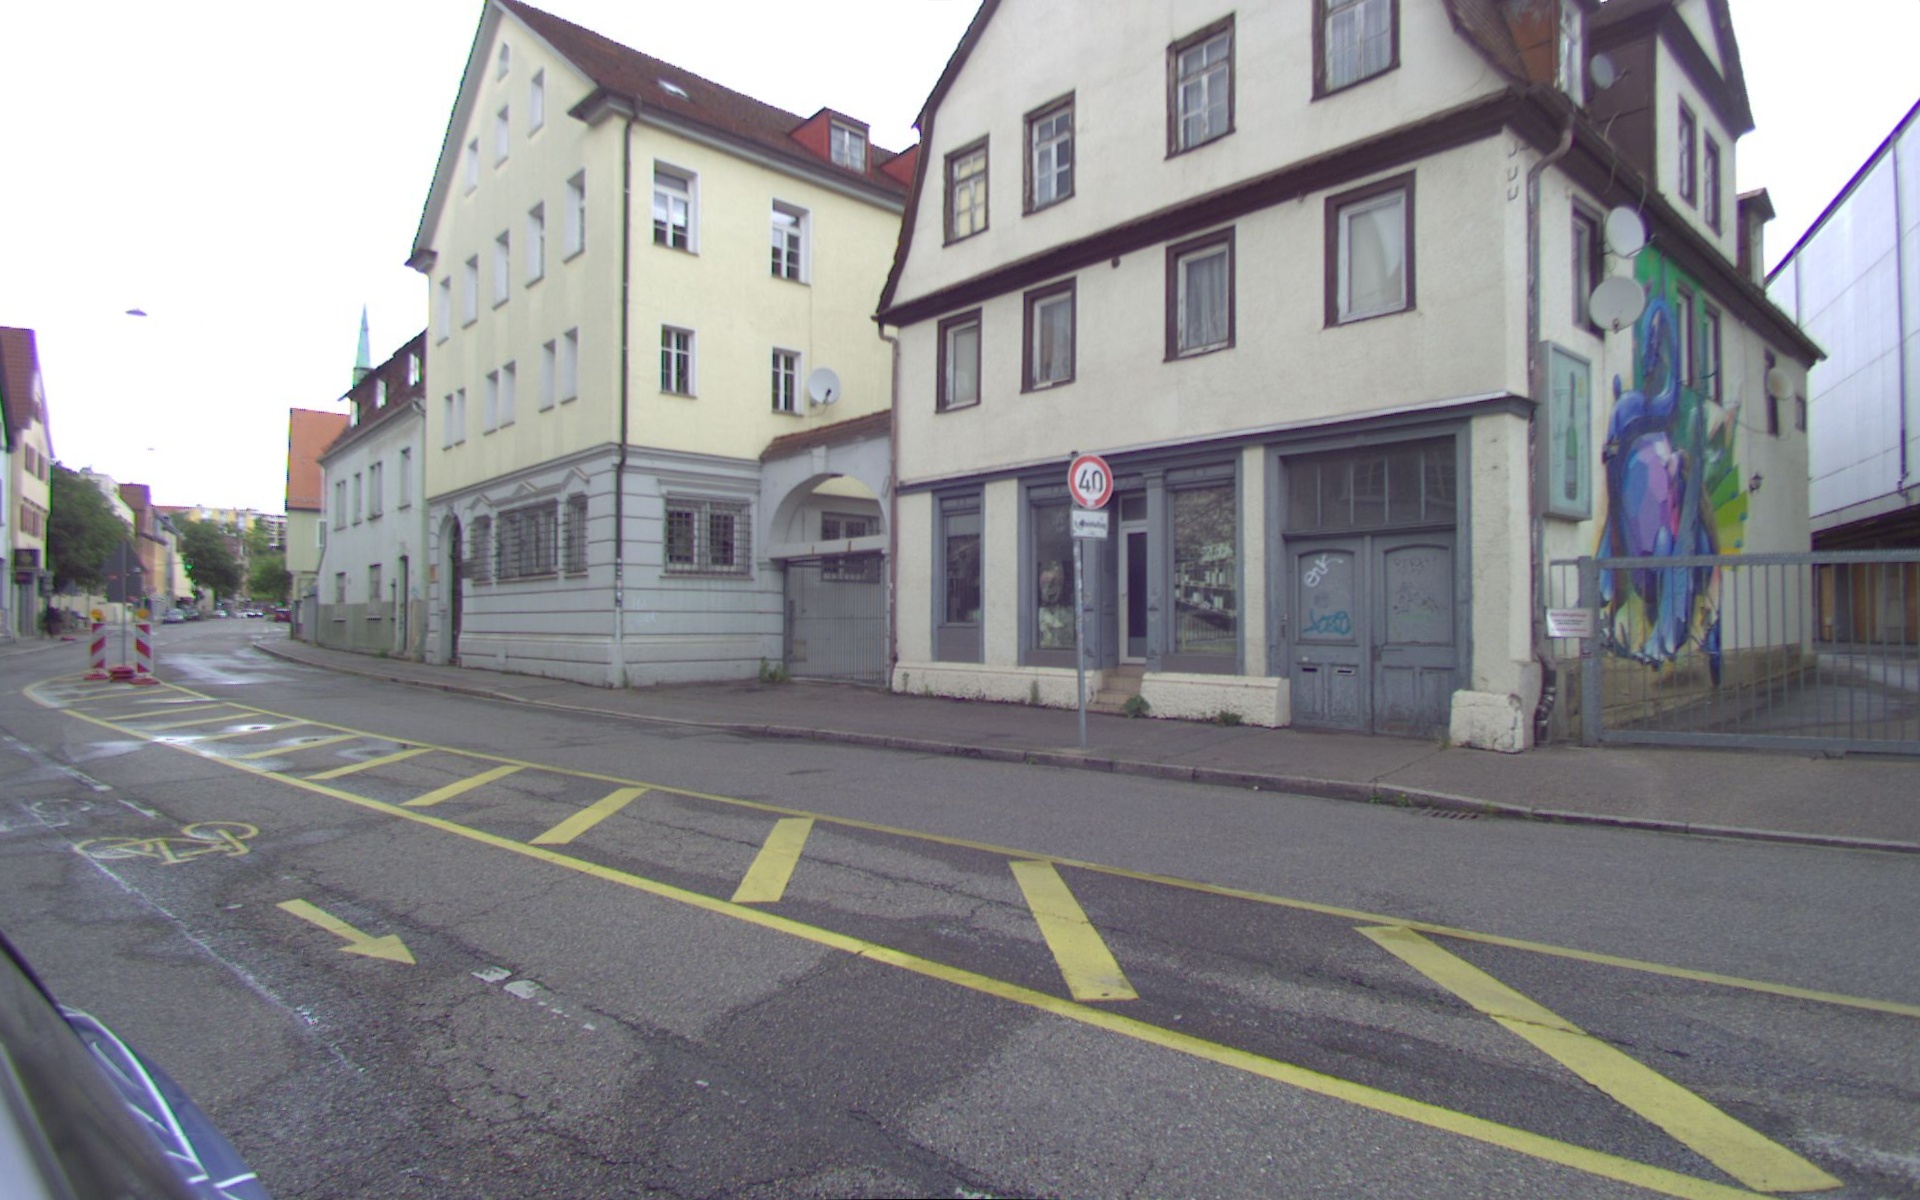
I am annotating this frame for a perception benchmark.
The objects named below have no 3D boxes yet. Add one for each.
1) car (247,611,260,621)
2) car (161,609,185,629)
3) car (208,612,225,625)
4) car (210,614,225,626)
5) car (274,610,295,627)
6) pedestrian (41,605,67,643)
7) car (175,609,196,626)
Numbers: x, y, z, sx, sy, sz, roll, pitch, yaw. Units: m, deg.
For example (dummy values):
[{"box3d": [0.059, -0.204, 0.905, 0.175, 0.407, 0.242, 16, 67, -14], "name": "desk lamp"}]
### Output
[{"box3d": [-143.544, 3.271, 205.627, 1.967, 2.029, 4.009, 1, -2, -37], "name": "car"}, {"box3d": [-84.791, 2.058, 109.047, 1.967, 2.029, 4.009, 1, -2, -37], "name": "car"}, {"box3d": [-114.766, 2.859, 156.227, 1.967, 2.029, 4.009, 1, -2, -37], "name": "car"}, {"box3d": [-123.511, 3.321, 168.299, 1.967, 2.029, 4.009, 1, -2, -37], "name": "car"}, {"box3d": [-85.662, 2.329, 128.362, 2.027, 2.029, 4.009, 1, -2, -37], "name": "car"}, {"box3d": [-45.584, 1.206, 50.929, 0.864, 1.914, 0.899, 1, -2, -36], "name": "pedestrian"}, {"box3d": [-97.020, 2.246, 126.775, 1.967, 2.029, 4.009, 1, -2, -37], "name": "car"}]
